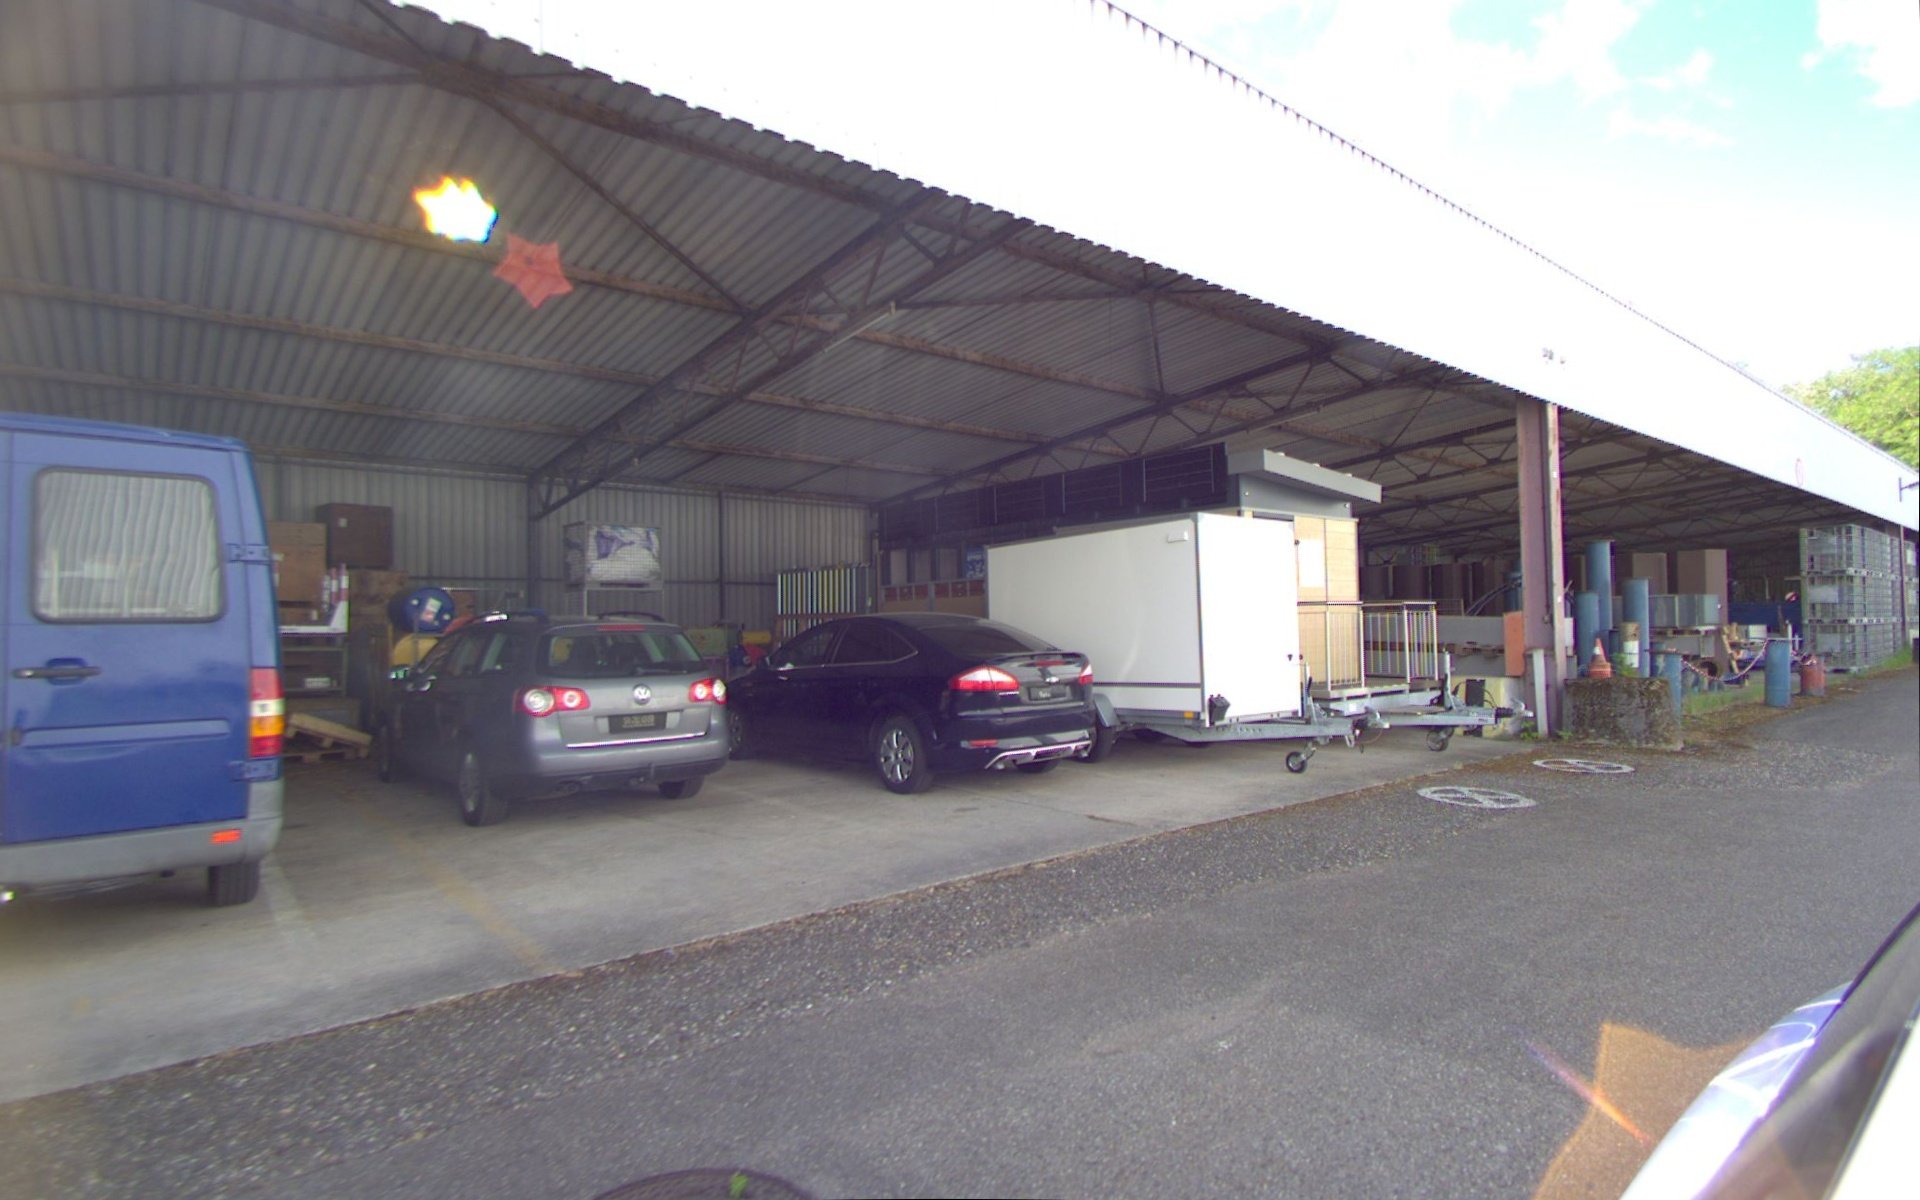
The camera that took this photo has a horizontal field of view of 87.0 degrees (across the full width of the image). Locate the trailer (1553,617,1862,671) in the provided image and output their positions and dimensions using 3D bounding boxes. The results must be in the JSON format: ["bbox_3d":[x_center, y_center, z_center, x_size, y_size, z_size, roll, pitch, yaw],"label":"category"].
[{"bbox_3d":[17.966,1.026,24.635,1.974,1.148,5.742,0,-2,-41],"label":"trailer"}]

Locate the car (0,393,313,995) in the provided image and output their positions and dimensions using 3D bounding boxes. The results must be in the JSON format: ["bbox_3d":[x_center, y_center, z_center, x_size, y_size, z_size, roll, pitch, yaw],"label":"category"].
[{"bbox_3d":[-5.385,0.423,5.924,2.047,2.327,5.224,0,-1,-40],"label":"car"}]

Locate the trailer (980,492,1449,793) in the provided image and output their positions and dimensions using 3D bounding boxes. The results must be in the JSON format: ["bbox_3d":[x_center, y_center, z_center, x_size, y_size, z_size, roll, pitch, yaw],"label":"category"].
[{"bbox_3d":[2.286,0.354,10.275,1.658,2.365,4.552,0,-1,-39],"label":"trailer"}]

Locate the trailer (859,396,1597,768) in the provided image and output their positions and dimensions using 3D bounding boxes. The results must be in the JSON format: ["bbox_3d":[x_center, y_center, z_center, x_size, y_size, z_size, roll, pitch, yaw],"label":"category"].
[{"bbox_3d":[2.508,-0.122,13.937,2.627,3.337,10.315,0,-1,-38],"label":"trailer"}]

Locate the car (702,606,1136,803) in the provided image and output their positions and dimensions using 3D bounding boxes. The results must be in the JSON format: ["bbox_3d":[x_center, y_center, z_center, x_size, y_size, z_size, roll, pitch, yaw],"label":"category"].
[{"bbox_3d":[-0.607,0.800,9.784,1.833,1.452,4.348,0,0,-42],"label":"car"}]

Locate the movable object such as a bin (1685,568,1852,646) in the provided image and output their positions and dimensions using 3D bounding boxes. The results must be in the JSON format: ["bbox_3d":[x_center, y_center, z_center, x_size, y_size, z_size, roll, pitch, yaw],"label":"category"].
[{"bbox_3d":[30.284,0.288,38.037,1.965,2.757,4.621,2,-2,-41],"label":"movable object such as a bin"}]

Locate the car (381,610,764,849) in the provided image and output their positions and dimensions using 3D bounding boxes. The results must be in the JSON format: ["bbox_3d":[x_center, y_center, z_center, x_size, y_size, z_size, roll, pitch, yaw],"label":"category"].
[{"bbox_3d":[-3.459,0.835,8.531,1.817,1.472,4.115,0,0,-39],"label":"car"}]

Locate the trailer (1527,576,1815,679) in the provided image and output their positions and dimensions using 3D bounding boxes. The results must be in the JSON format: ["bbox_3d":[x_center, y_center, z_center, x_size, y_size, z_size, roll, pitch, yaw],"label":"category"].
[{"bbox_3d":[15.558,0.559,22.416,2.009,2.022,4.830,0,-1,-36],"label":"trailer"}]
